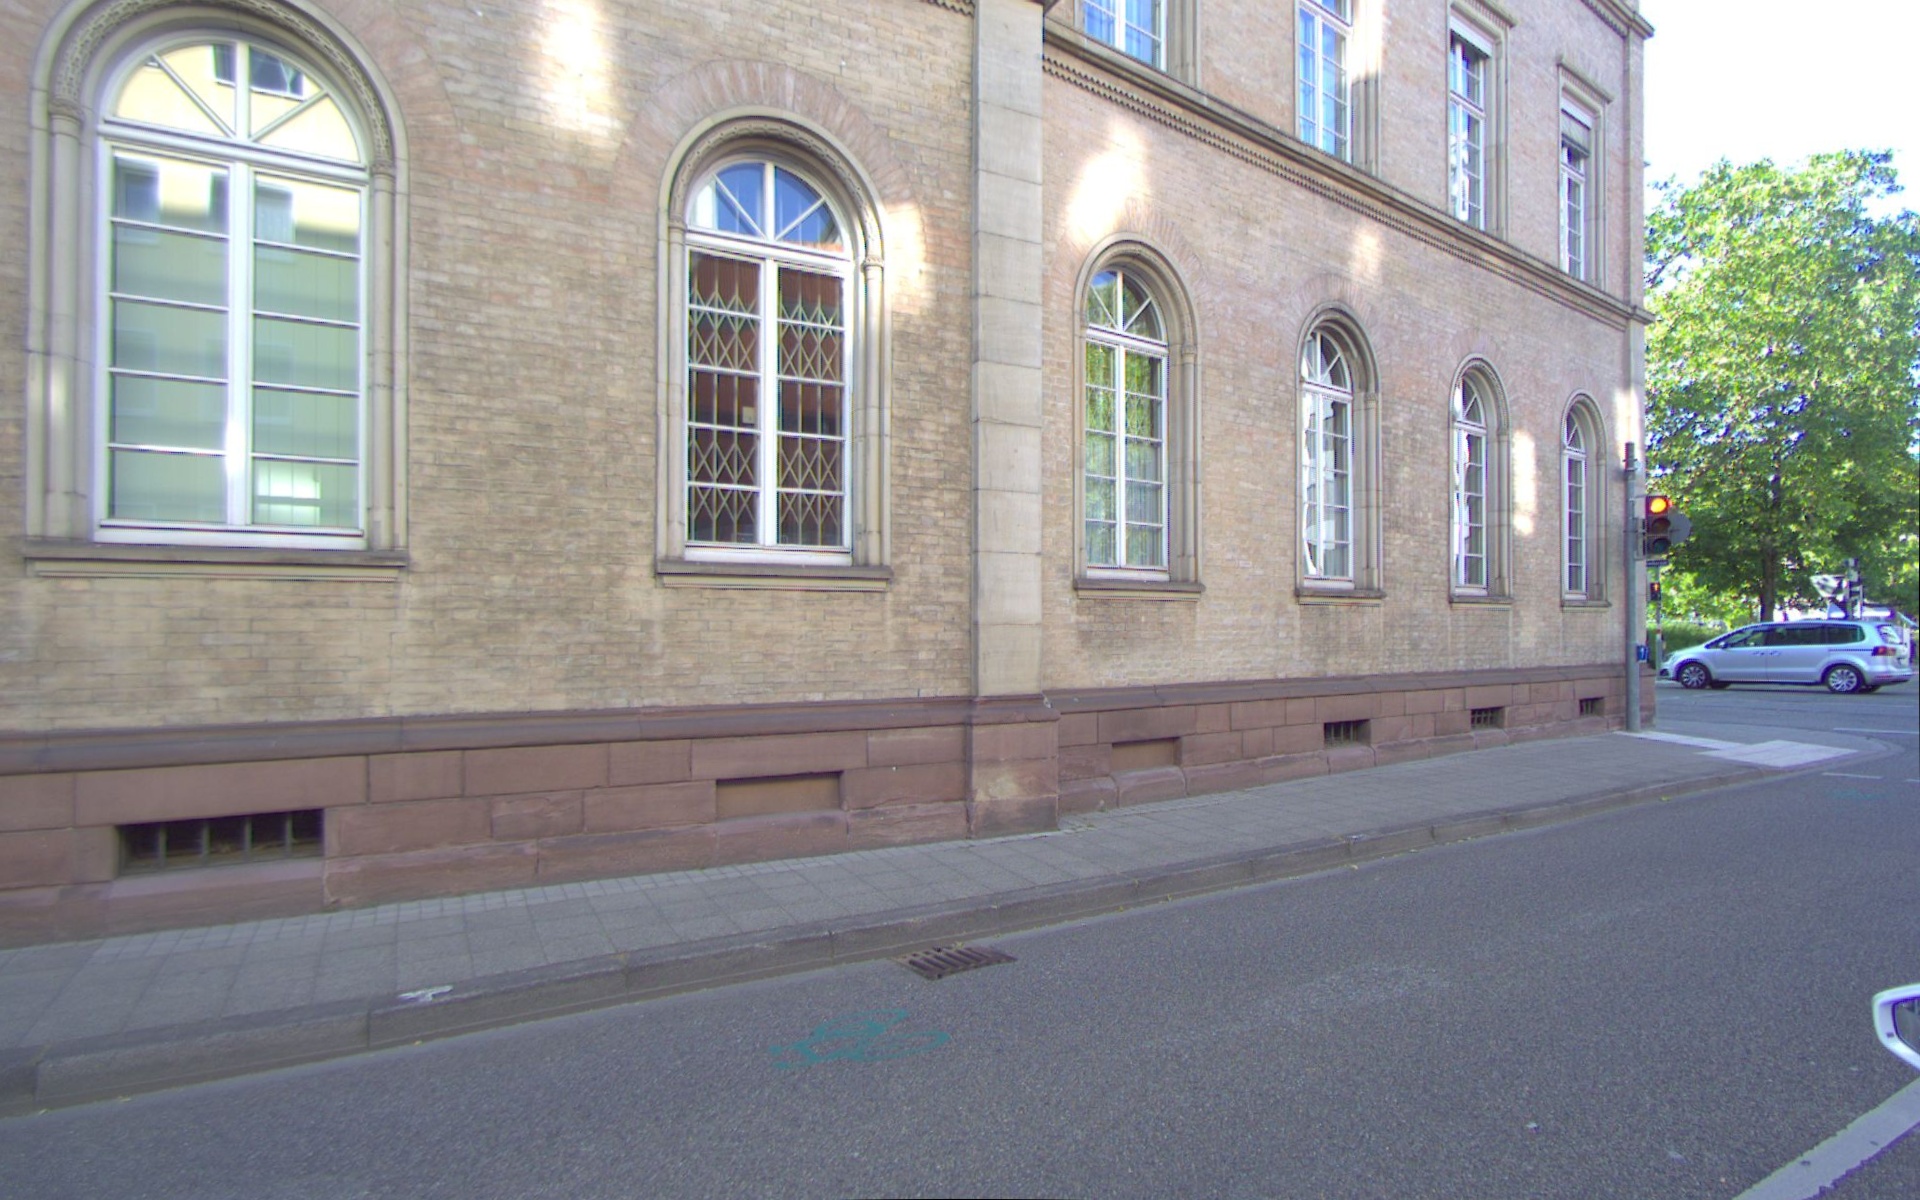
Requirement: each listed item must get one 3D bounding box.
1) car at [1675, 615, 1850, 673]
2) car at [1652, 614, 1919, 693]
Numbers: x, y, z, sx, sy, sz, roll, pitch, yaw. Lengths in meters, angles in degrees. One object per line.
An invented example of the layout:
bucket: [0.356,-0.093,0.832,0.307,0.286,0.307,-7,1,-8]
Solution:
car: [26.415,1.401,33.186,1.888,1.801,4.193,1,-1,-37]
car: [19.911,1.275,24.455,1.782,1.729,4.729,1,-2,-35]
